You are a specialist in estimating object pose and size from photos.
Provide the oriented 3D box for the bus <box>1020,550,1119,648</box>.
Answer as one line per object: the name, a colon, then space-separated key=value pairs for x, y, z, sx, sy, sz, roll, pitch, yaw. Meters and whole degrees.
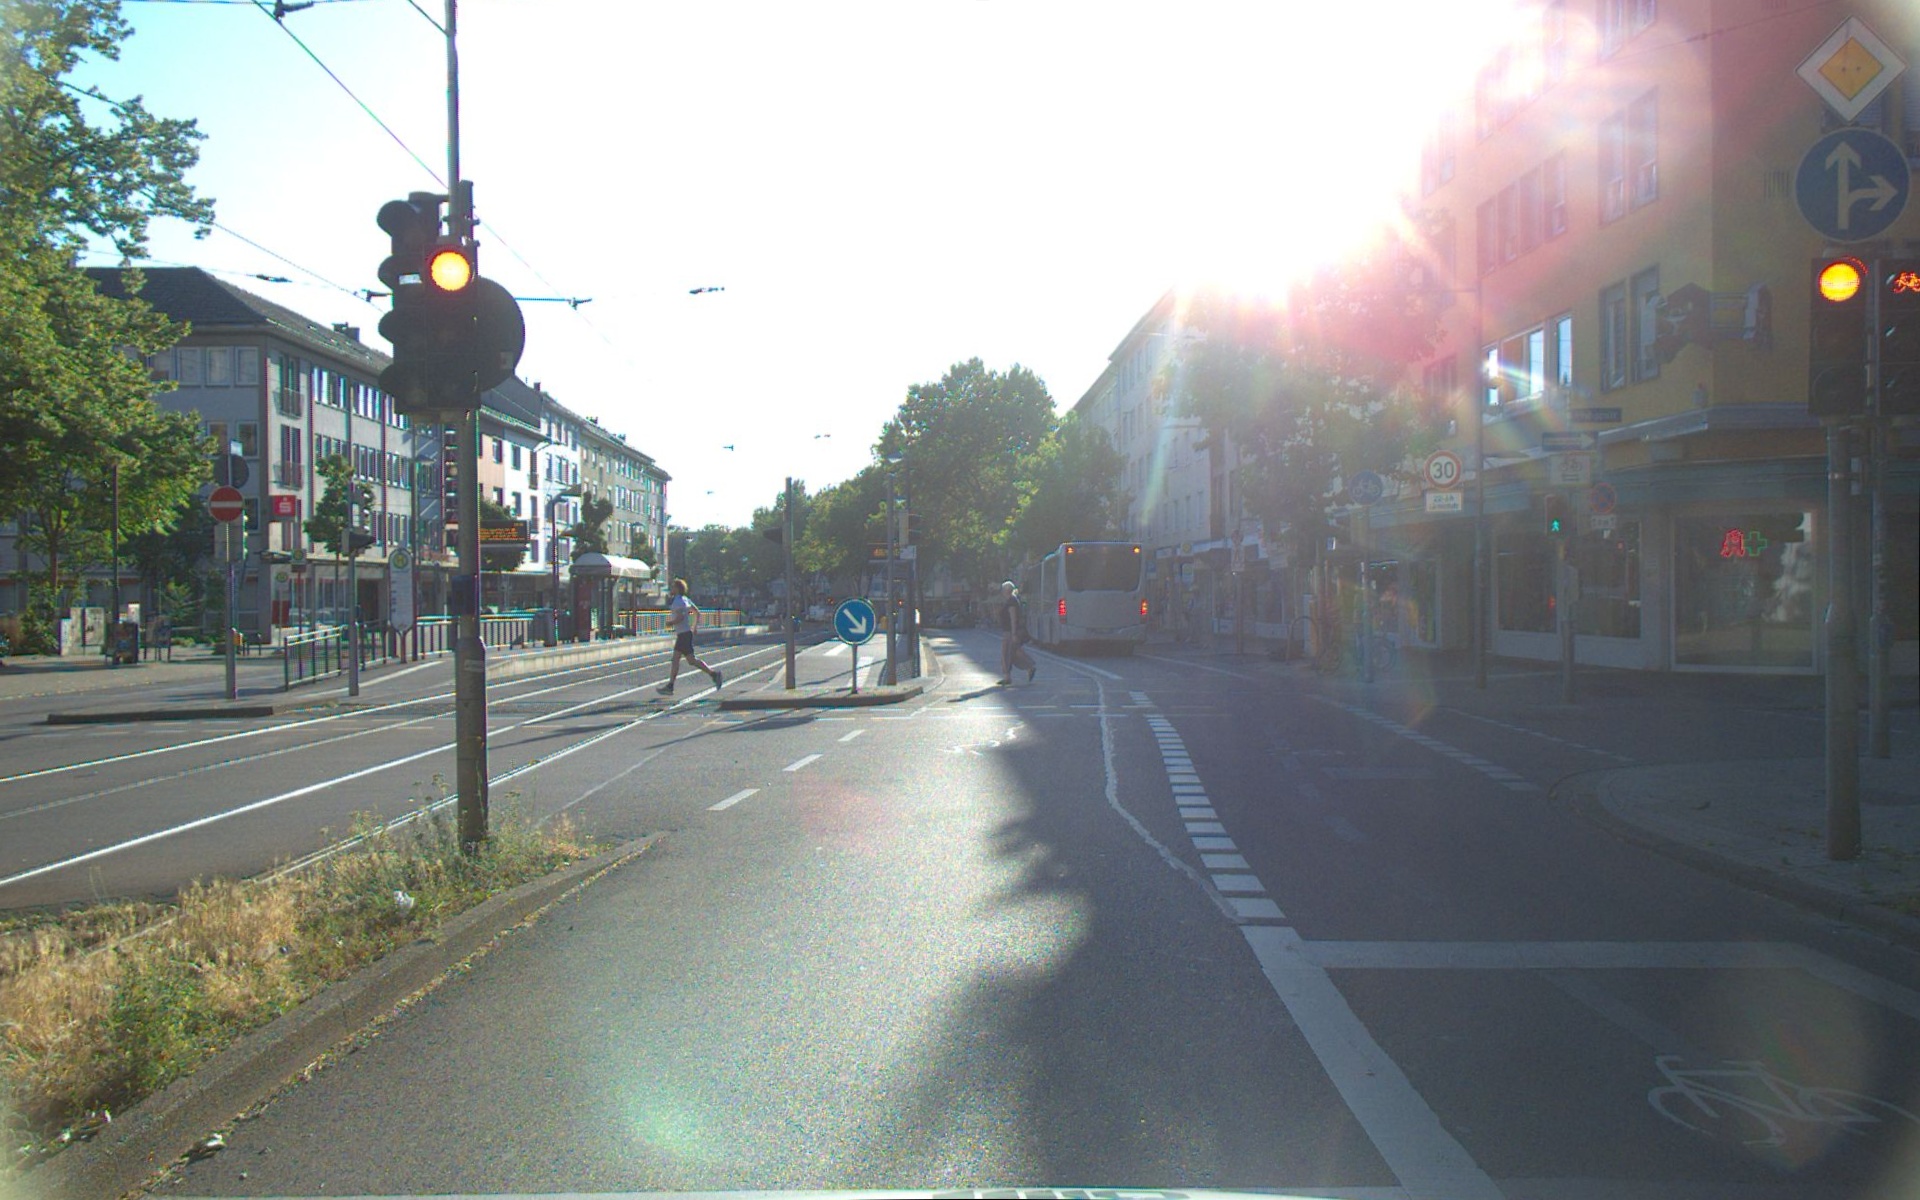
bus: x=3.756 y=-0.031 z=58.918 sx=2.755 sy=3.156 sz=9.092 roll=1 pitch=0 yaw=-1

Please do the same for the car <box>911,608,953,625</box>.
car: x=-2.826 y=1.638 z=166.713 sx=3.848 sy=1.624 sz=1.674 roll=-1 pitch=0 yaw=-30

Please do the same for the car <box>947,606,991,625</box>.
car: x=0.890 y=1.518 z=158.457 sx=3.848 sy=1.729 sz=1.815 roll=-1 pitch=0 yaw=-30

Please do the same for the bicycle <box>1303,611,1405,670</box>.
bicycle: x=7.472 y=0.759 z=31.429 sx=1.737 sy=1.039 sz=0.694 roll=-2 pitch=0 yaw=-2

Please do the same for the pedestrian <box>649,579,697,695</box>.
pedestrian: x=-4.541 y=0.570 z=26.198 sx=0.666 sy=1.801 sz=0.686 roll=-1 pitch=0 yaw=-5

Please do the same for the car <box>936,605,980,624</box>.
car: x=-0.204 y=1.404 z=161.270 sx=3.848 sy=1.729 sz=1.815 roll=-1 pitch=0 yaw=-30

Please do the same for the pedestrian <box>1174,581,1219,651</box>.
pedestrian: x=7.049 y=0.471 z=49.377 sx=0.947 sy=2.049 sz=0.905 roll=2 pitch=0 yaw=-38

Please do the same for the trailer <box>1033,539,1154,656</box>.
trailer: x=3.876 y=-0.059 z=49.968 sx=2.755 sy=3.165 sz=8.792 roll=1 pitch=0 yaw=-1

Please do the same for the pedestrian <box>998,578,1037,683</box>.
pedestrian: x=0.996 y=0.525 z=28.767 sx=0.666 sy=1.801 sz=0.687 roll=0 pitch=0 yaw=0
